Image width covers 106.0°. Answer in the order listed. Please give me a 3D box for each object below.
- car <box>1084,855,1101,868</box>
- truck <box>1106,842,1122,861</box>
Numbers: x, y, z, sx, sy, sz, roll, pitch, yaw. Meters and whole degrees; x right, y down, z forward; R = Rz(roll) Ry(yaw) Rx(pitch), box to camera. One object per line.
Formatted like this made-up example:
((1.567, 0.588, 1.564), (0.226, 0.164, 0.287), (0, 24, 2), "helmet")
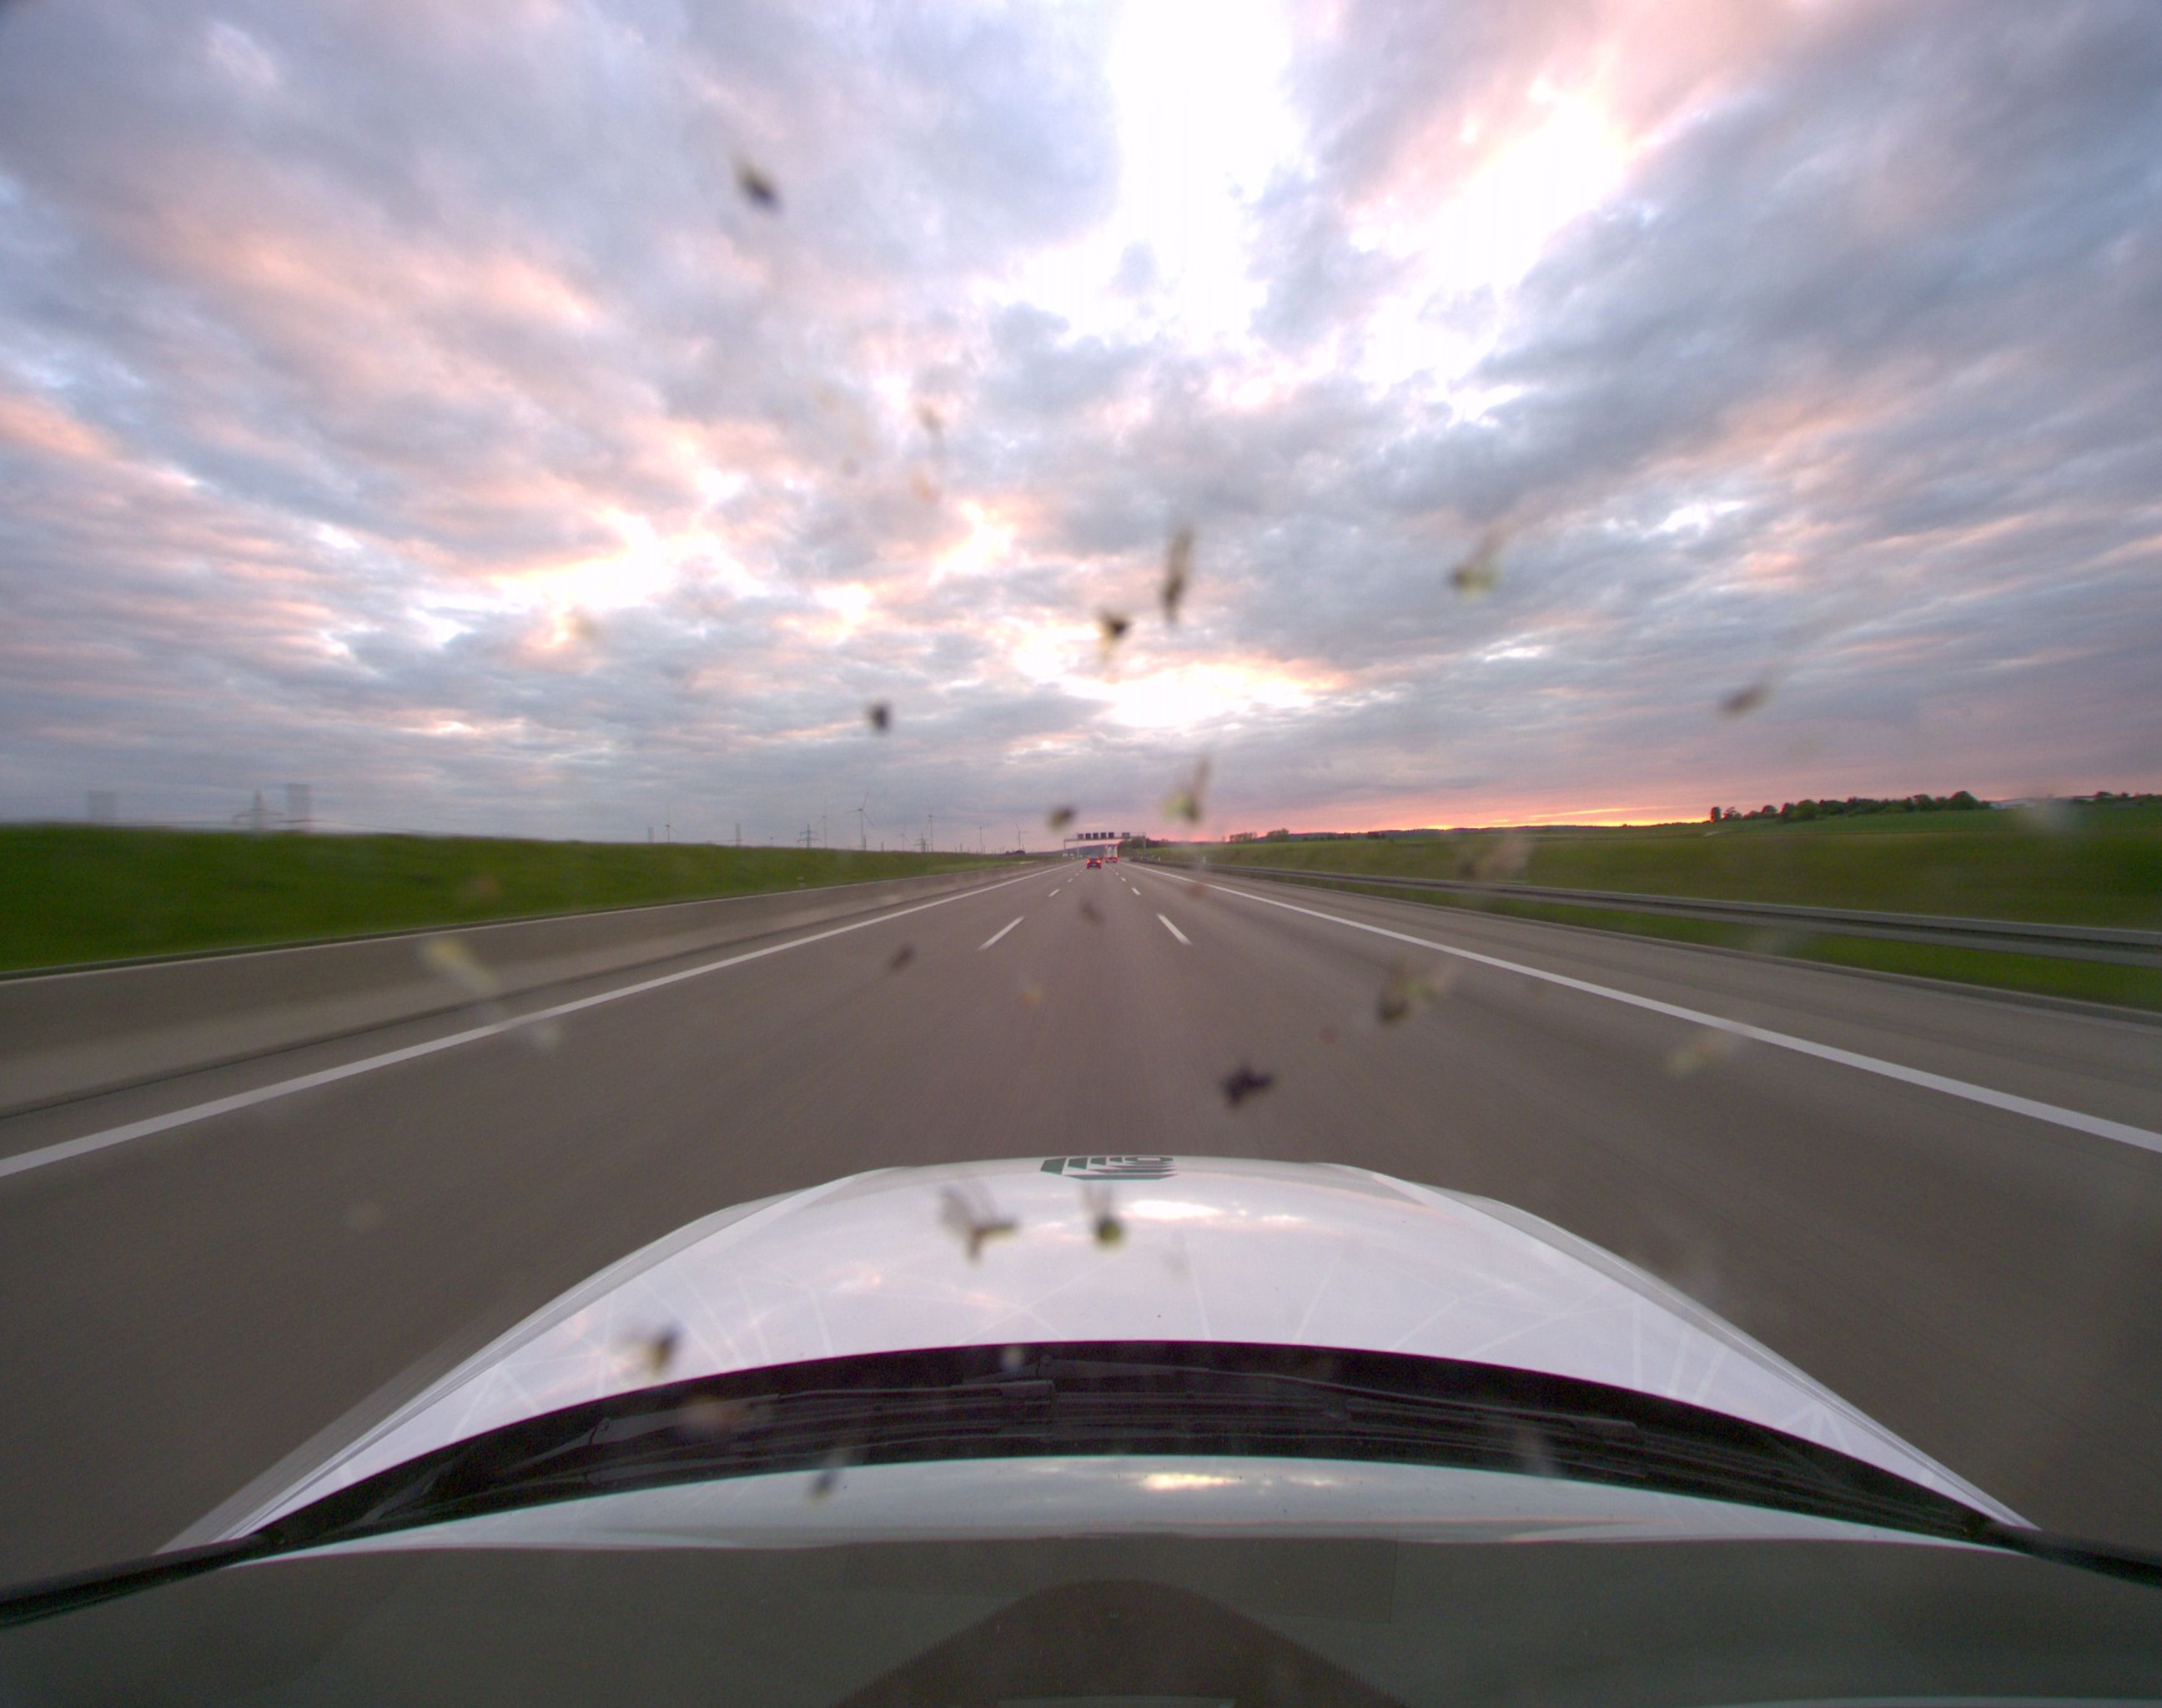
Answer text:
((1.473, 0.950, 100.850), (1.980, 1.429, 4.001), (-3, 0, 1), "car")
((8.035, -0.600, 198.377), (3.662, 4.565, 10.984), (-1, 0, 1), "truck")
